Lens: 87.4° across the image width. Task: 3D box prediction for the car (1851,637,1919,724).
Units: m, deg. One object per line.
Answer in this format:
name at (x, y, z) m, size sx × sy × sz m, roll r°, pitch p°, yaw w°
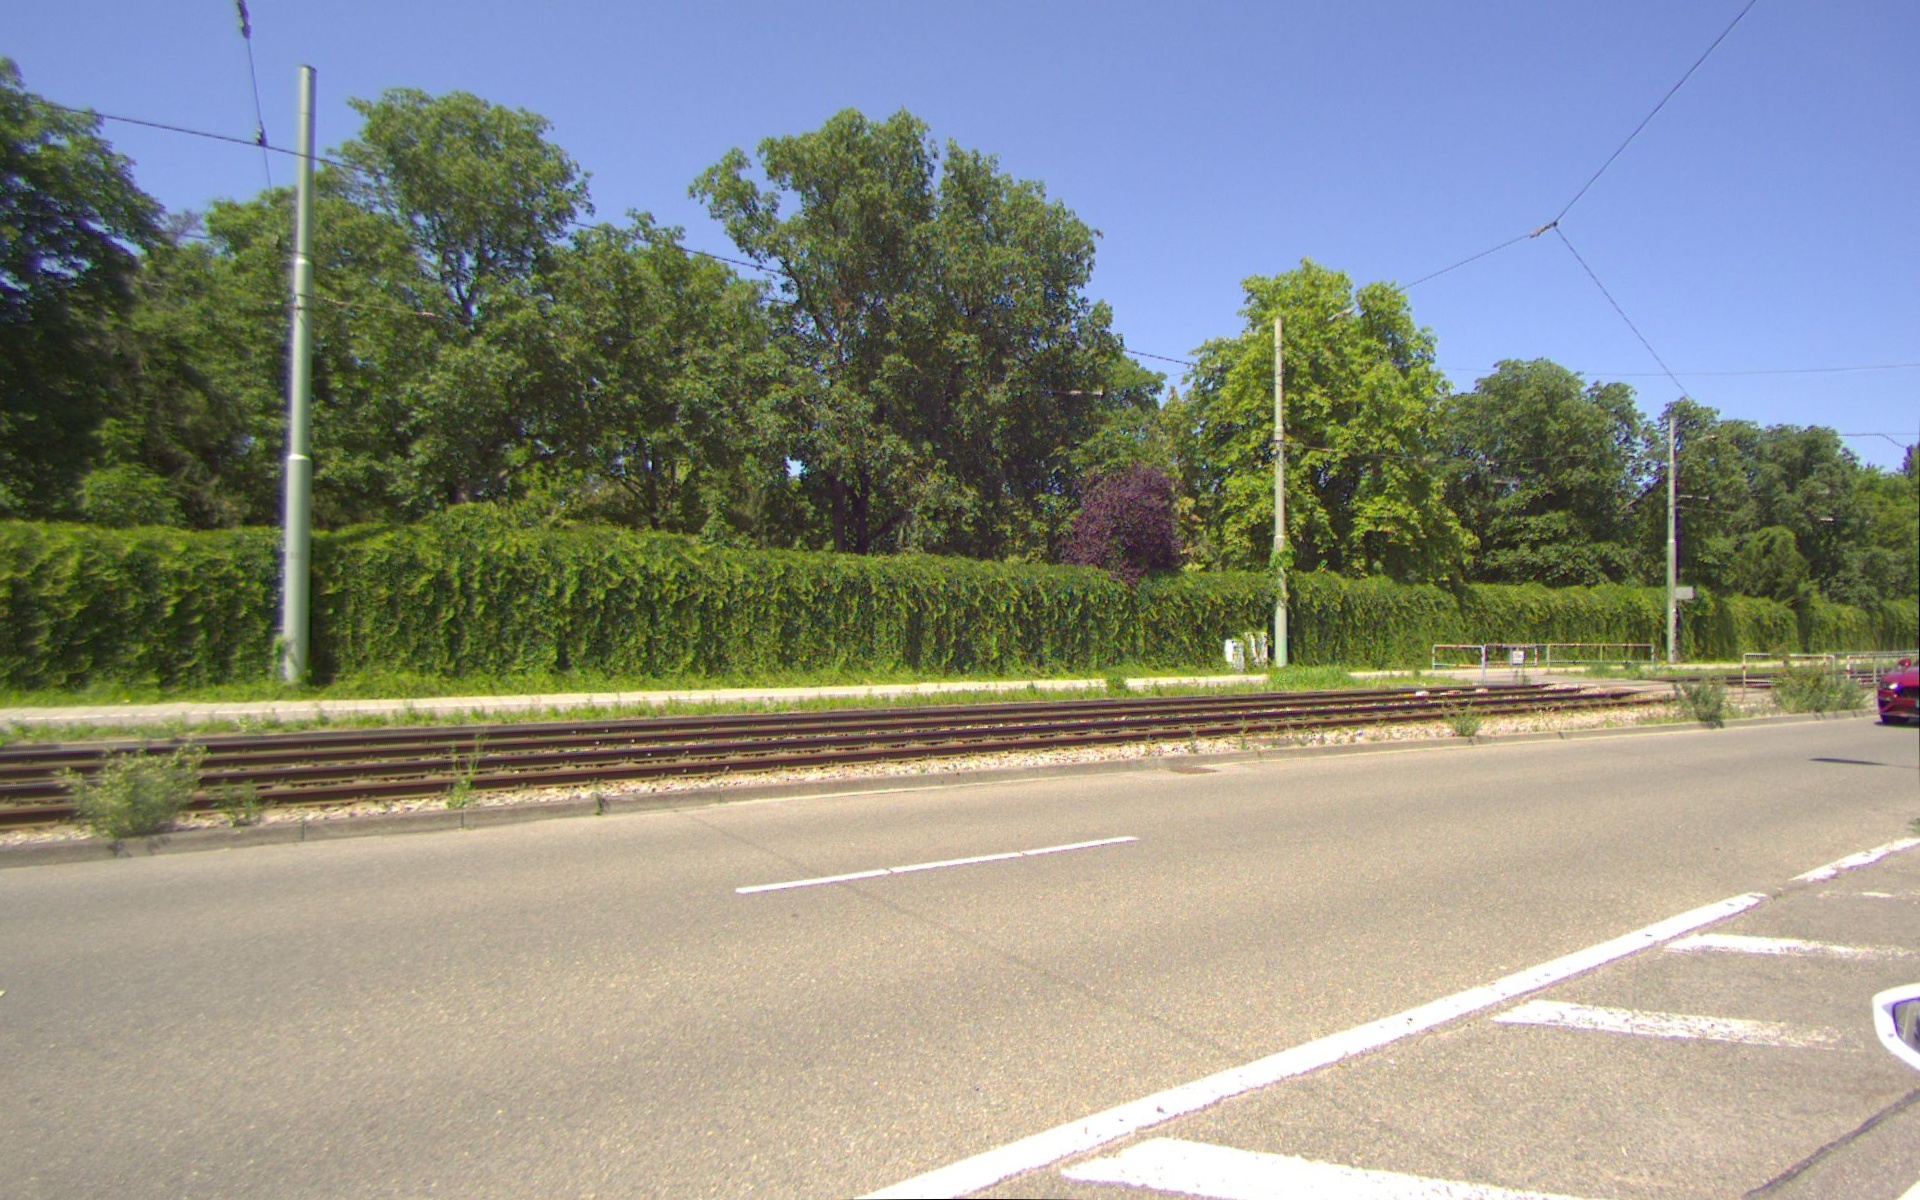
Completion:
car at (17.296, 1.338, 17.060) m, size 4.485 × 1.376 × 1.975 m, roll 1°, pitch -2°, yaw -30°
